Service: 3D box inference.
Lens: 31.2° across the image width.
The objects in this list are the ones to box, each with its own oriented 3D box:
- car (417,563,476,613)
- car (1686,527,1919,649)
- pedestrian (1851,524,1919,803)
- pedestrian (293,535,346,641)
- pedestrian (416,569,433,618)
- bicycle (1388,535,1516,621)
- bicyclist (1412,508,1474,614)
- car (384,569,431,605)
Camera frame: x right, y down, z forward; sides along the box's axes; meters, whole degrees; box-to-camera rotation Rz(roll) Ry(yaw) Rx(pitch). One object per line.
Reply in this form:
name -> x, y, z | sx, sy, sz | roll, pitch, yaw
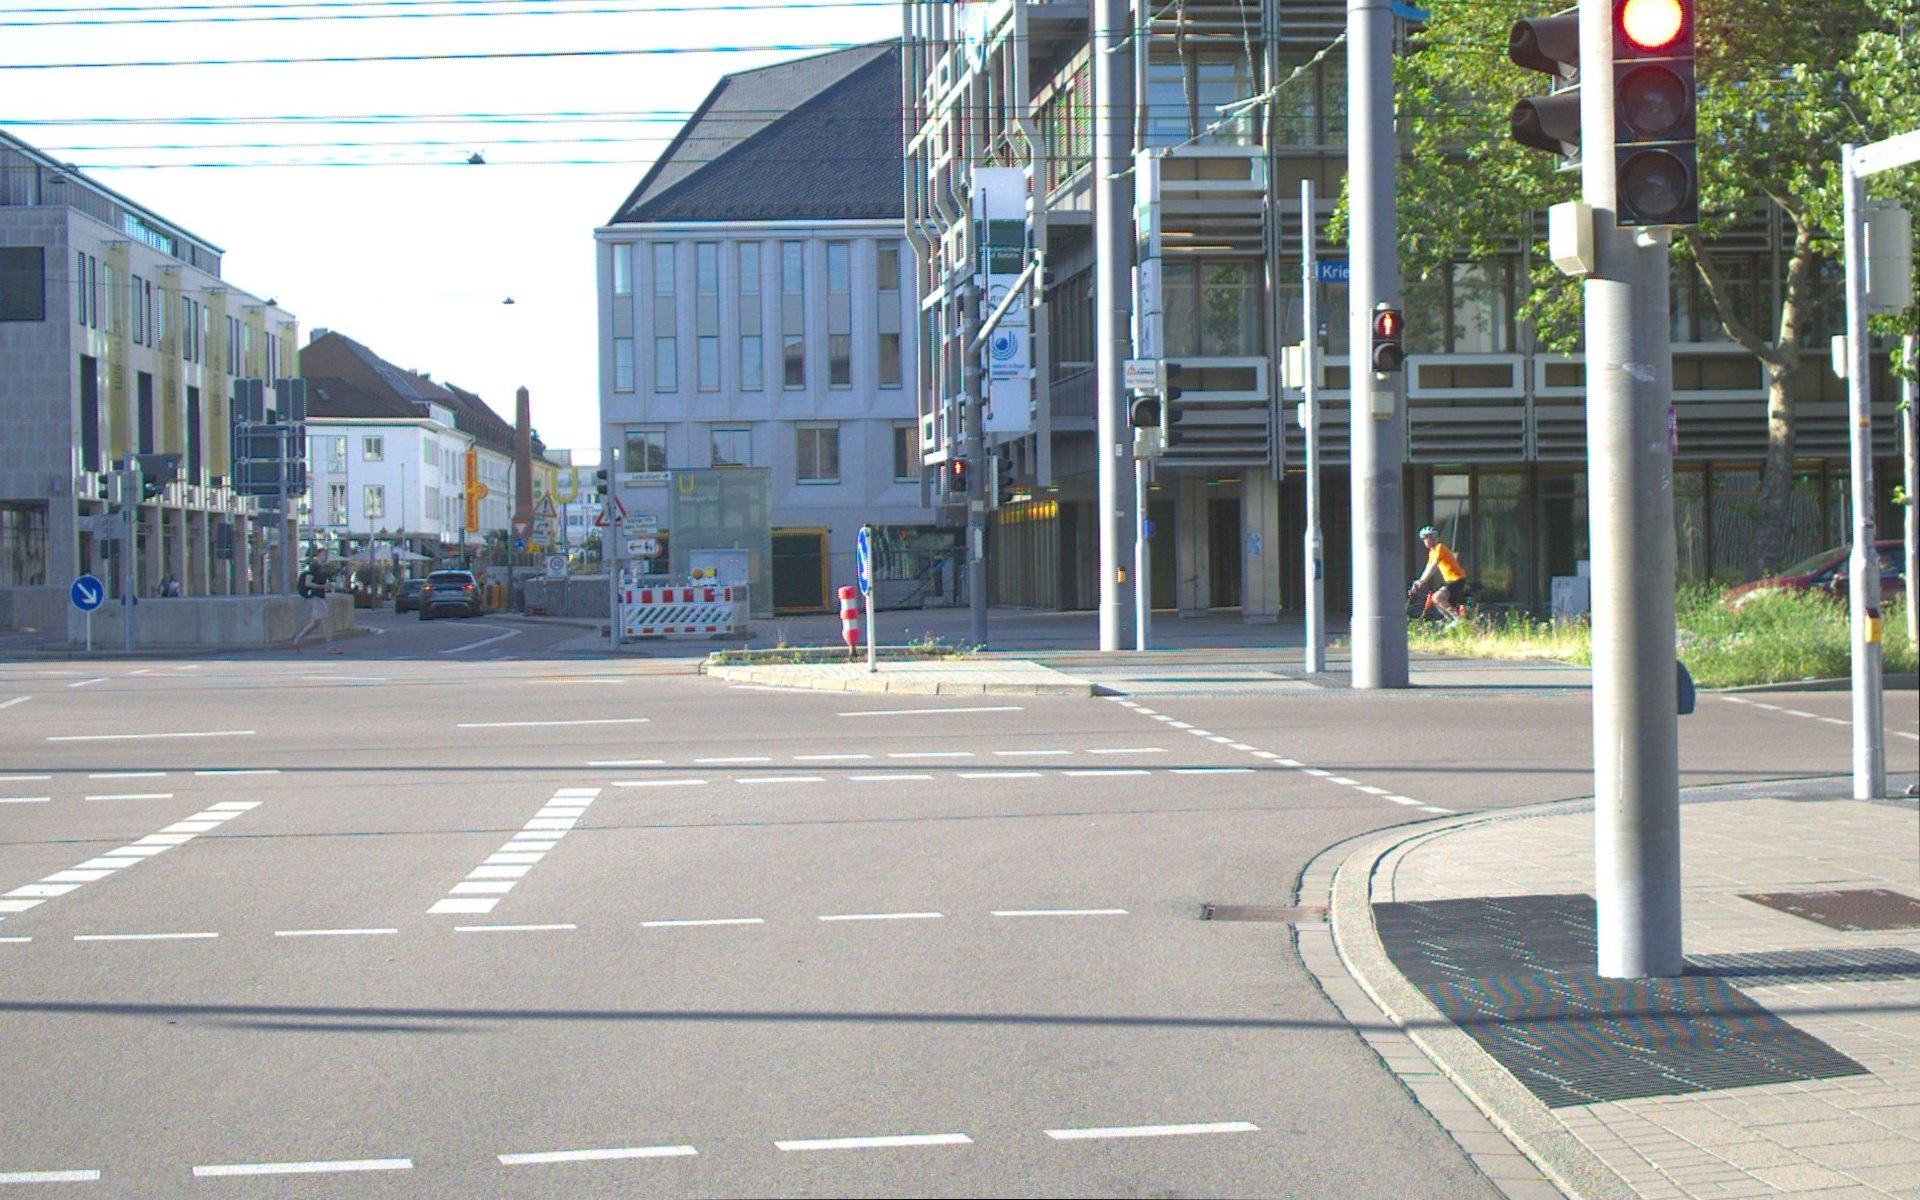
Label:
car -> -16.147, -0.390, 108.208 | 1.737, 1.525, 3.856 | 1, 1, -7
car -> 11.904, -0.177, 46.155 | 3.884, 1.579, 1.660 | -1, 1, -7
pedestrian -> 5.335, 0.340, 18.678 | 0.788, 1.487, 0.644 | 1, 0, -1
pedestrian -> -11.531, -0.224, 61.930 | 0.642, 1.883, 0.790 | 1, 0, 14
pedestrian -> -18.272, -0.218, 117.329 | 0.521, 1.674, 0.583 | 1, 1, -7
bicycle -> 6.752, -0.307, 47.182 | 1.644, 1.150, 0.497 | 1, 0, -9
bicyclist -> 6.624, -0.536, 47.159 | 0.711, 1.432, 0.497 | 1, 0, -9
car -> -23.038, -0.540, 143.527 | 1.785, 1.446, 4.001 | 1, 1, -7
